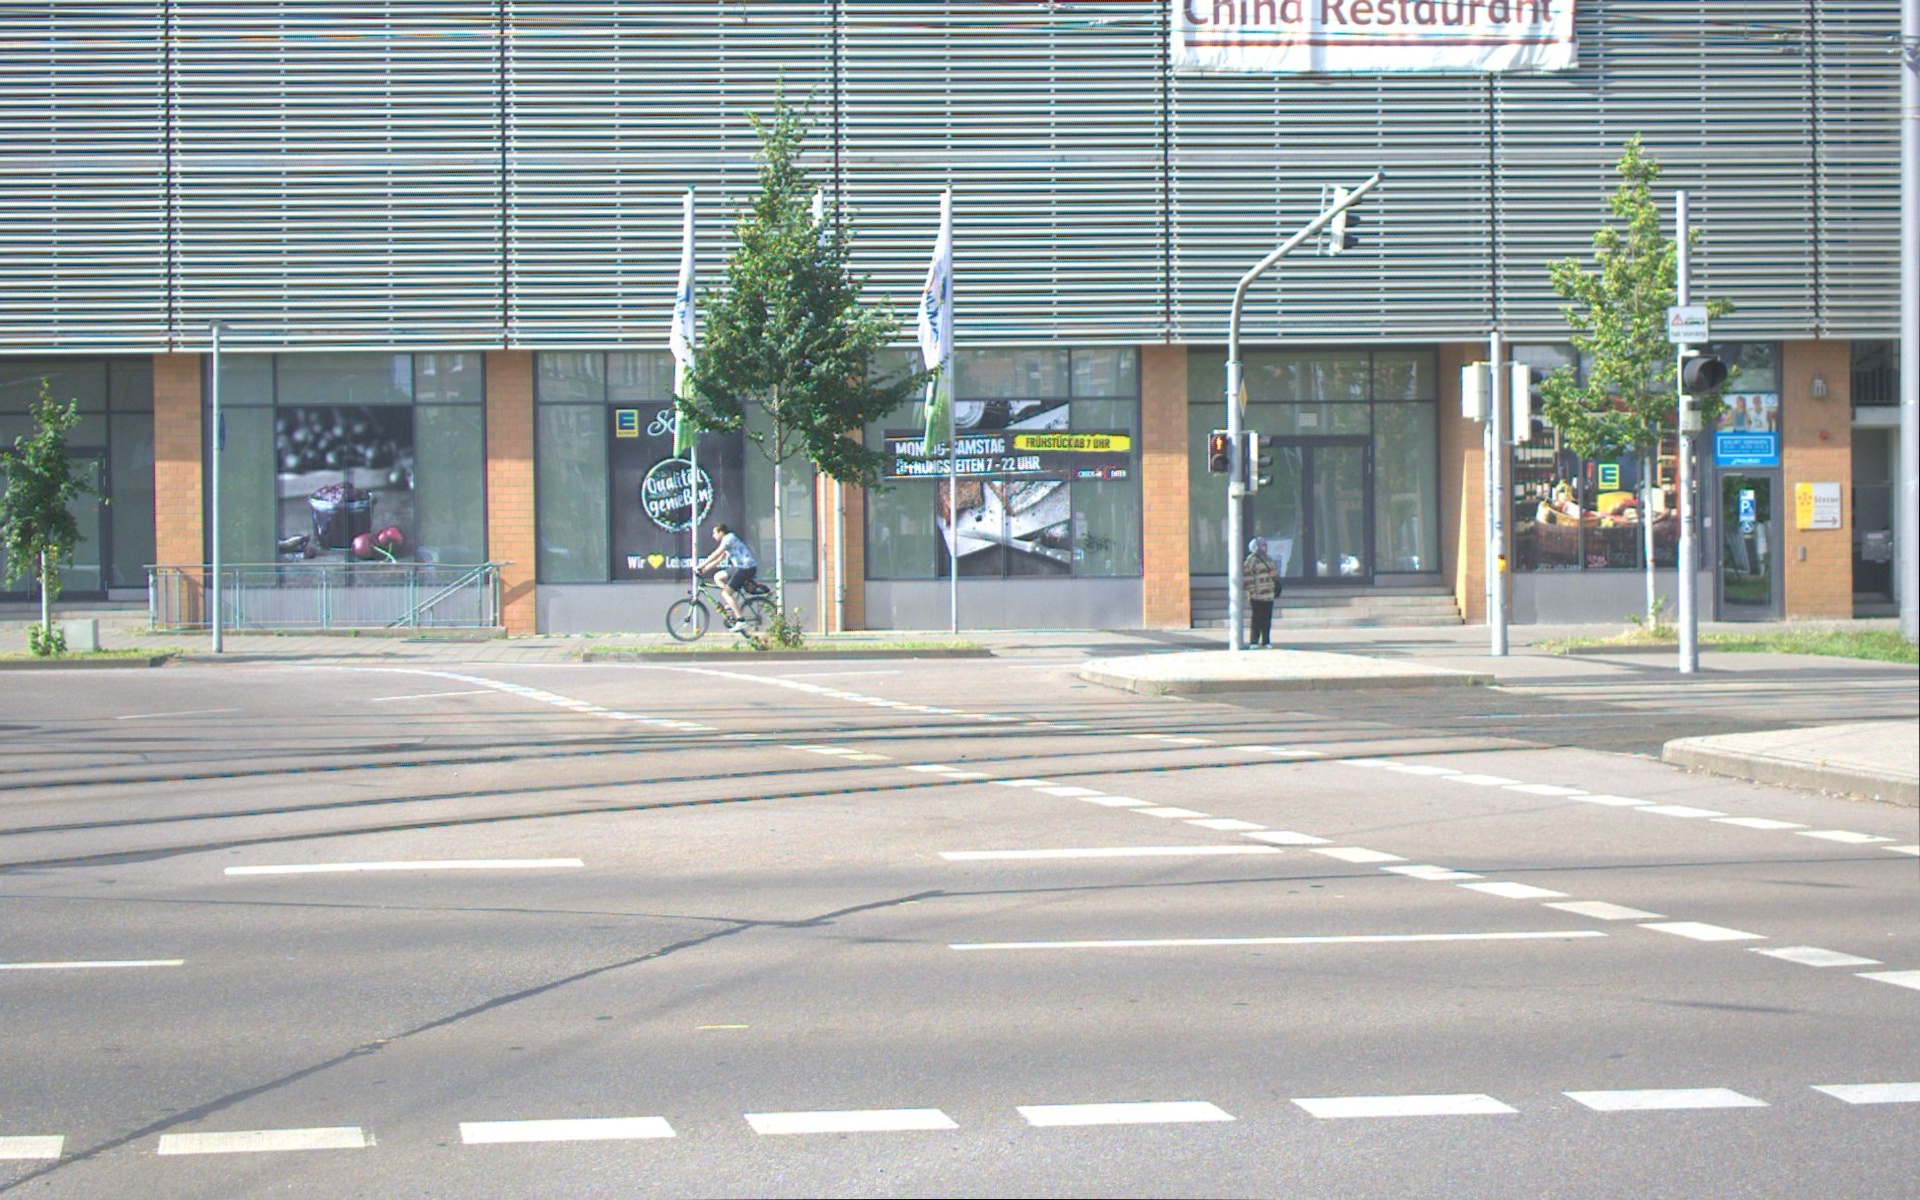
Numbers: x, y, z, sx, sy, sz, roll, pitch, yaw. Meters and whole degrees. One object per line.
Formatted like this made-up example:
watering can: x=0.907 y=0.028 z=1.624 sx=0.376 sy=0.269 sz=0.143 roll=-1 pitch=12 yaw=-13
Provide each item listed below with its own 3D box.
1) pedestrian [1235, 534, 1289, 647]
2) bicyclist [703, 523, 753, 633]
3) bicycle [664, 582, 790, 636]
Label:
pedestrian: x=4.237 y=-0.138 z=48.197 sx=0.588 sy=1.574 sz=0.764 roll=-1 pitch=1 yaw=-8
bicyclist: x=-3.476 y=-0.328 z=51.506 sx=0.712 sy=1.624 sz=0.569 roll=1 pitch=0 yaw=-5
bicycle: x=-3.491 y=0.135 z=51.524 sx=1.862 sy=0.777 sz=0.582 roll=1 pitch=0 yaw=-3
